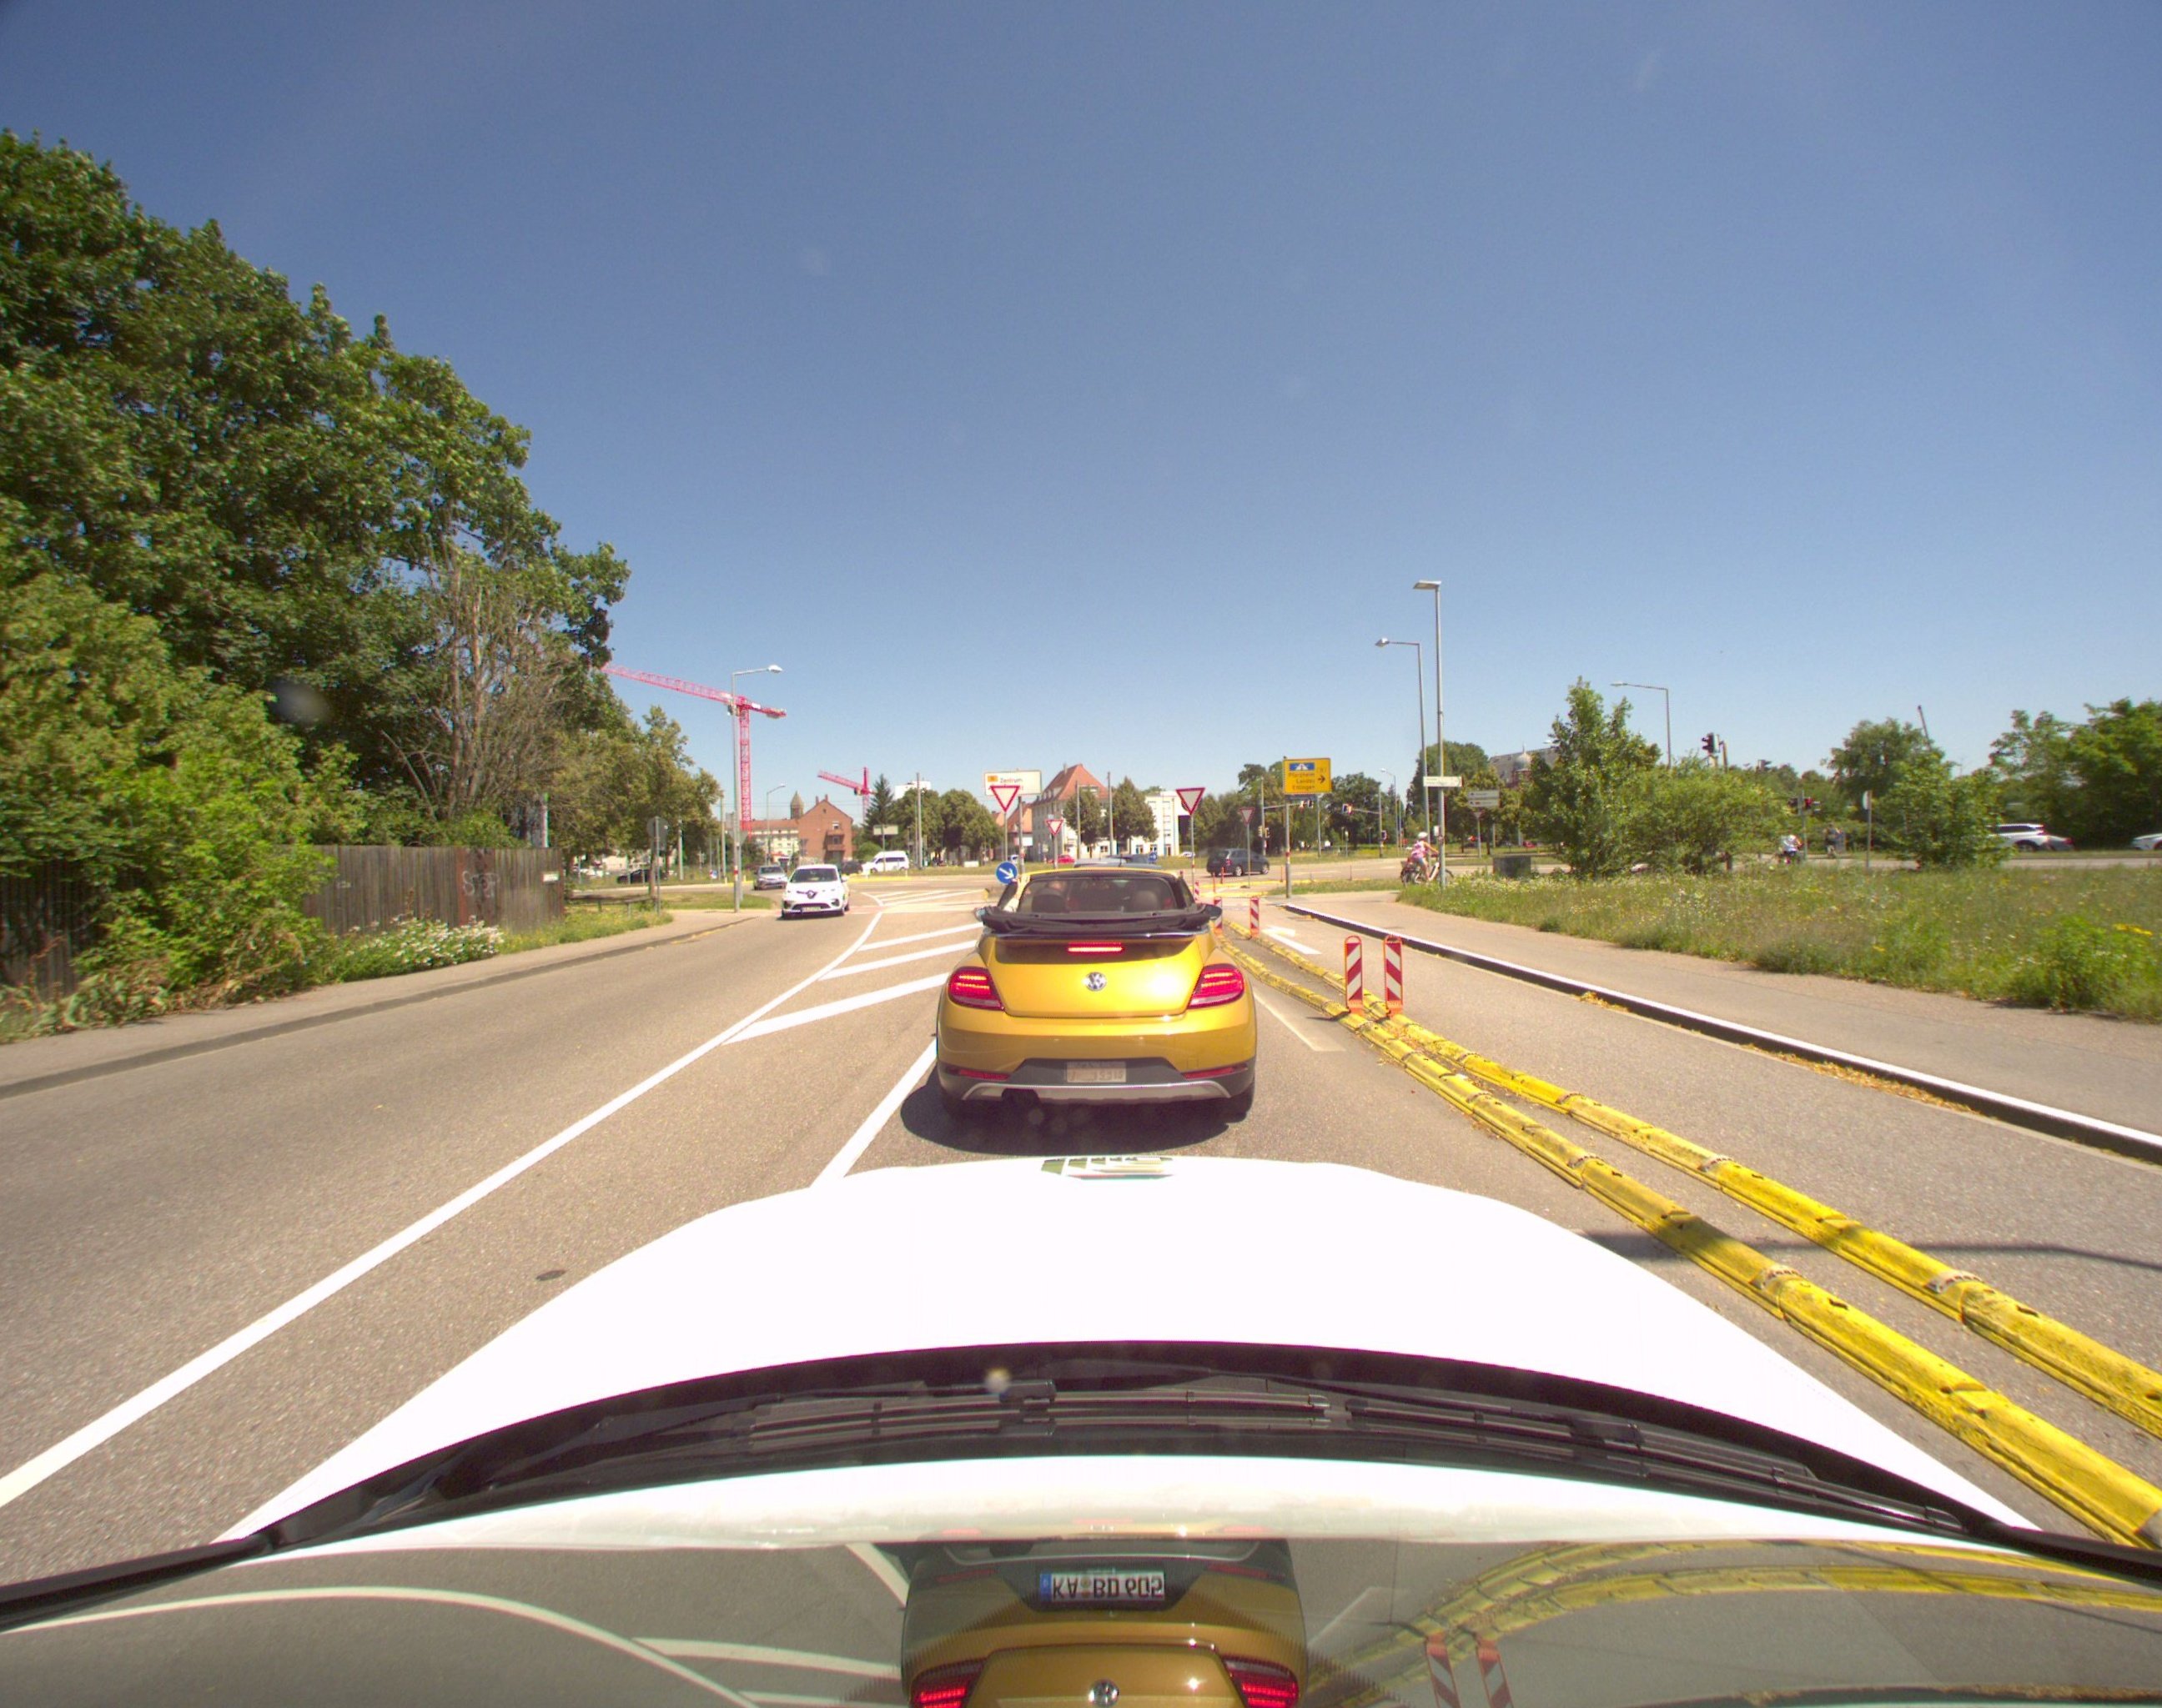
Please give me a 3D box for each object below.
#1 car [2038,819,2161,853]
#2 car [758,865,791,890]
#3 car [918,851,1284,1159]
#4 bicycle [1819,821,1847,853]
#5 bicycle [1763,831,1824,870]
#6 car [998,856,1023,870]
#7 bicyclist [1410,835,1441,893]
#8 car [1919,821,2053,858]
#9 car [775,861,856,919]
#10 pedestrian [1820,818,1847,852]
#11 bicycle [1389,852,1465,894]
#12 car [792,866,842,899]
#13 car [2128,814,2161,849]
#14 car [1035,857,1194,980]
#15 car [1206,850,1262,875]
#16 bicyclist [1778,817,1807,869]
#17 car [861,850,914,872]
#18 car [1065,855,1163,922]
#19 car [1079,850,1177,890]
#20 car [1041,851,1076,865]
[{"bbox_3d":[51.383,-0.880,40.684,4.389,1.592,1.860,-1,-1,43],"label":"car"},{"bbox_3d":[-18.789,1.391,49.820,1.734,1.402,4.239,0,-1,-22],"label":"car"},{"bbox_3d":[0.161,0.750,6.074,1.758,1.481,4.259,0,-1,2],"label":"car"},{"bbox_3d":[38.049,-0.832,41.191,0.972,1.597,2.900,-1,-1,43],"label":"bicycle"},{"bbox_3d":[25.869,-0.120,29.549,2.902,1.353,0.635,0,-1,-28],"label":"bicycle"},{"bbox_3d":[-10.778,1.350,124.264,1.999,2.070,5.281,0,-1,-27],"label":"car"},{"bbox_3d":[10.766,0.307,25.482,0.667,1.752,0.593,-3,1,3],"label":"bicyclist"},{"bbox_3d":[45.948,-0.707,41.505,4.389,1.736,1.860,-1,-1,43],"label":"car"},{"bbox_3d":[-7.897,1.015,24.507,1.776,1.527,3.858,-2,0,-11],"label":"car"},{"bbox_3d":[37.951,-0.960,41.083,0.959,1.660,0.892,-1,-1,44],"label":"pedestrian"},{"bbox_3d":[10.816,0.582,25.488,2.082,1.221,0.634,-2,0,4],"label":"bicycle"},{"bbox_3d":[-11.748,1.230,36.495,1.748,1.371,4.311,0,0,-13],"label":"car"},{"bbox_3d":[51.300,-1.072,36.938,4.389,1.592,1.860,-1,-1,43],"label":"car"},{"bbox_3d":[0.462,0.774,11.789,1.844,1.366,4.260,-2,0,2],"label":"car"},{"bbox_3d":[8.079,0.445,42.959,1.420,1.259,3.237,-1,-1,42],"label":"car"},{"bbox_3d":[25.766,-0.383,29.502,0.573,1.841,0.603,0,-1,-29],"label":"bicyclist"},{"bbox_3d":[-21.336,0.761,89.947,5.354,2.397,1.971,0,-1,-39],"label":"car"},{"bbox_3d":[0.763,0.747,19.225,2.057,1.382,4.259,0,0,2],"label":"car"},{"bbox_3d":[2.053,0.630,34.041,2.045,1.481,4.572,-2,0,33],"label":"car"},{"bbox_3d":[-2.935,0.524,104.664,4.326,1.654,1.897,0,-1,-6],"label":"car"}]
